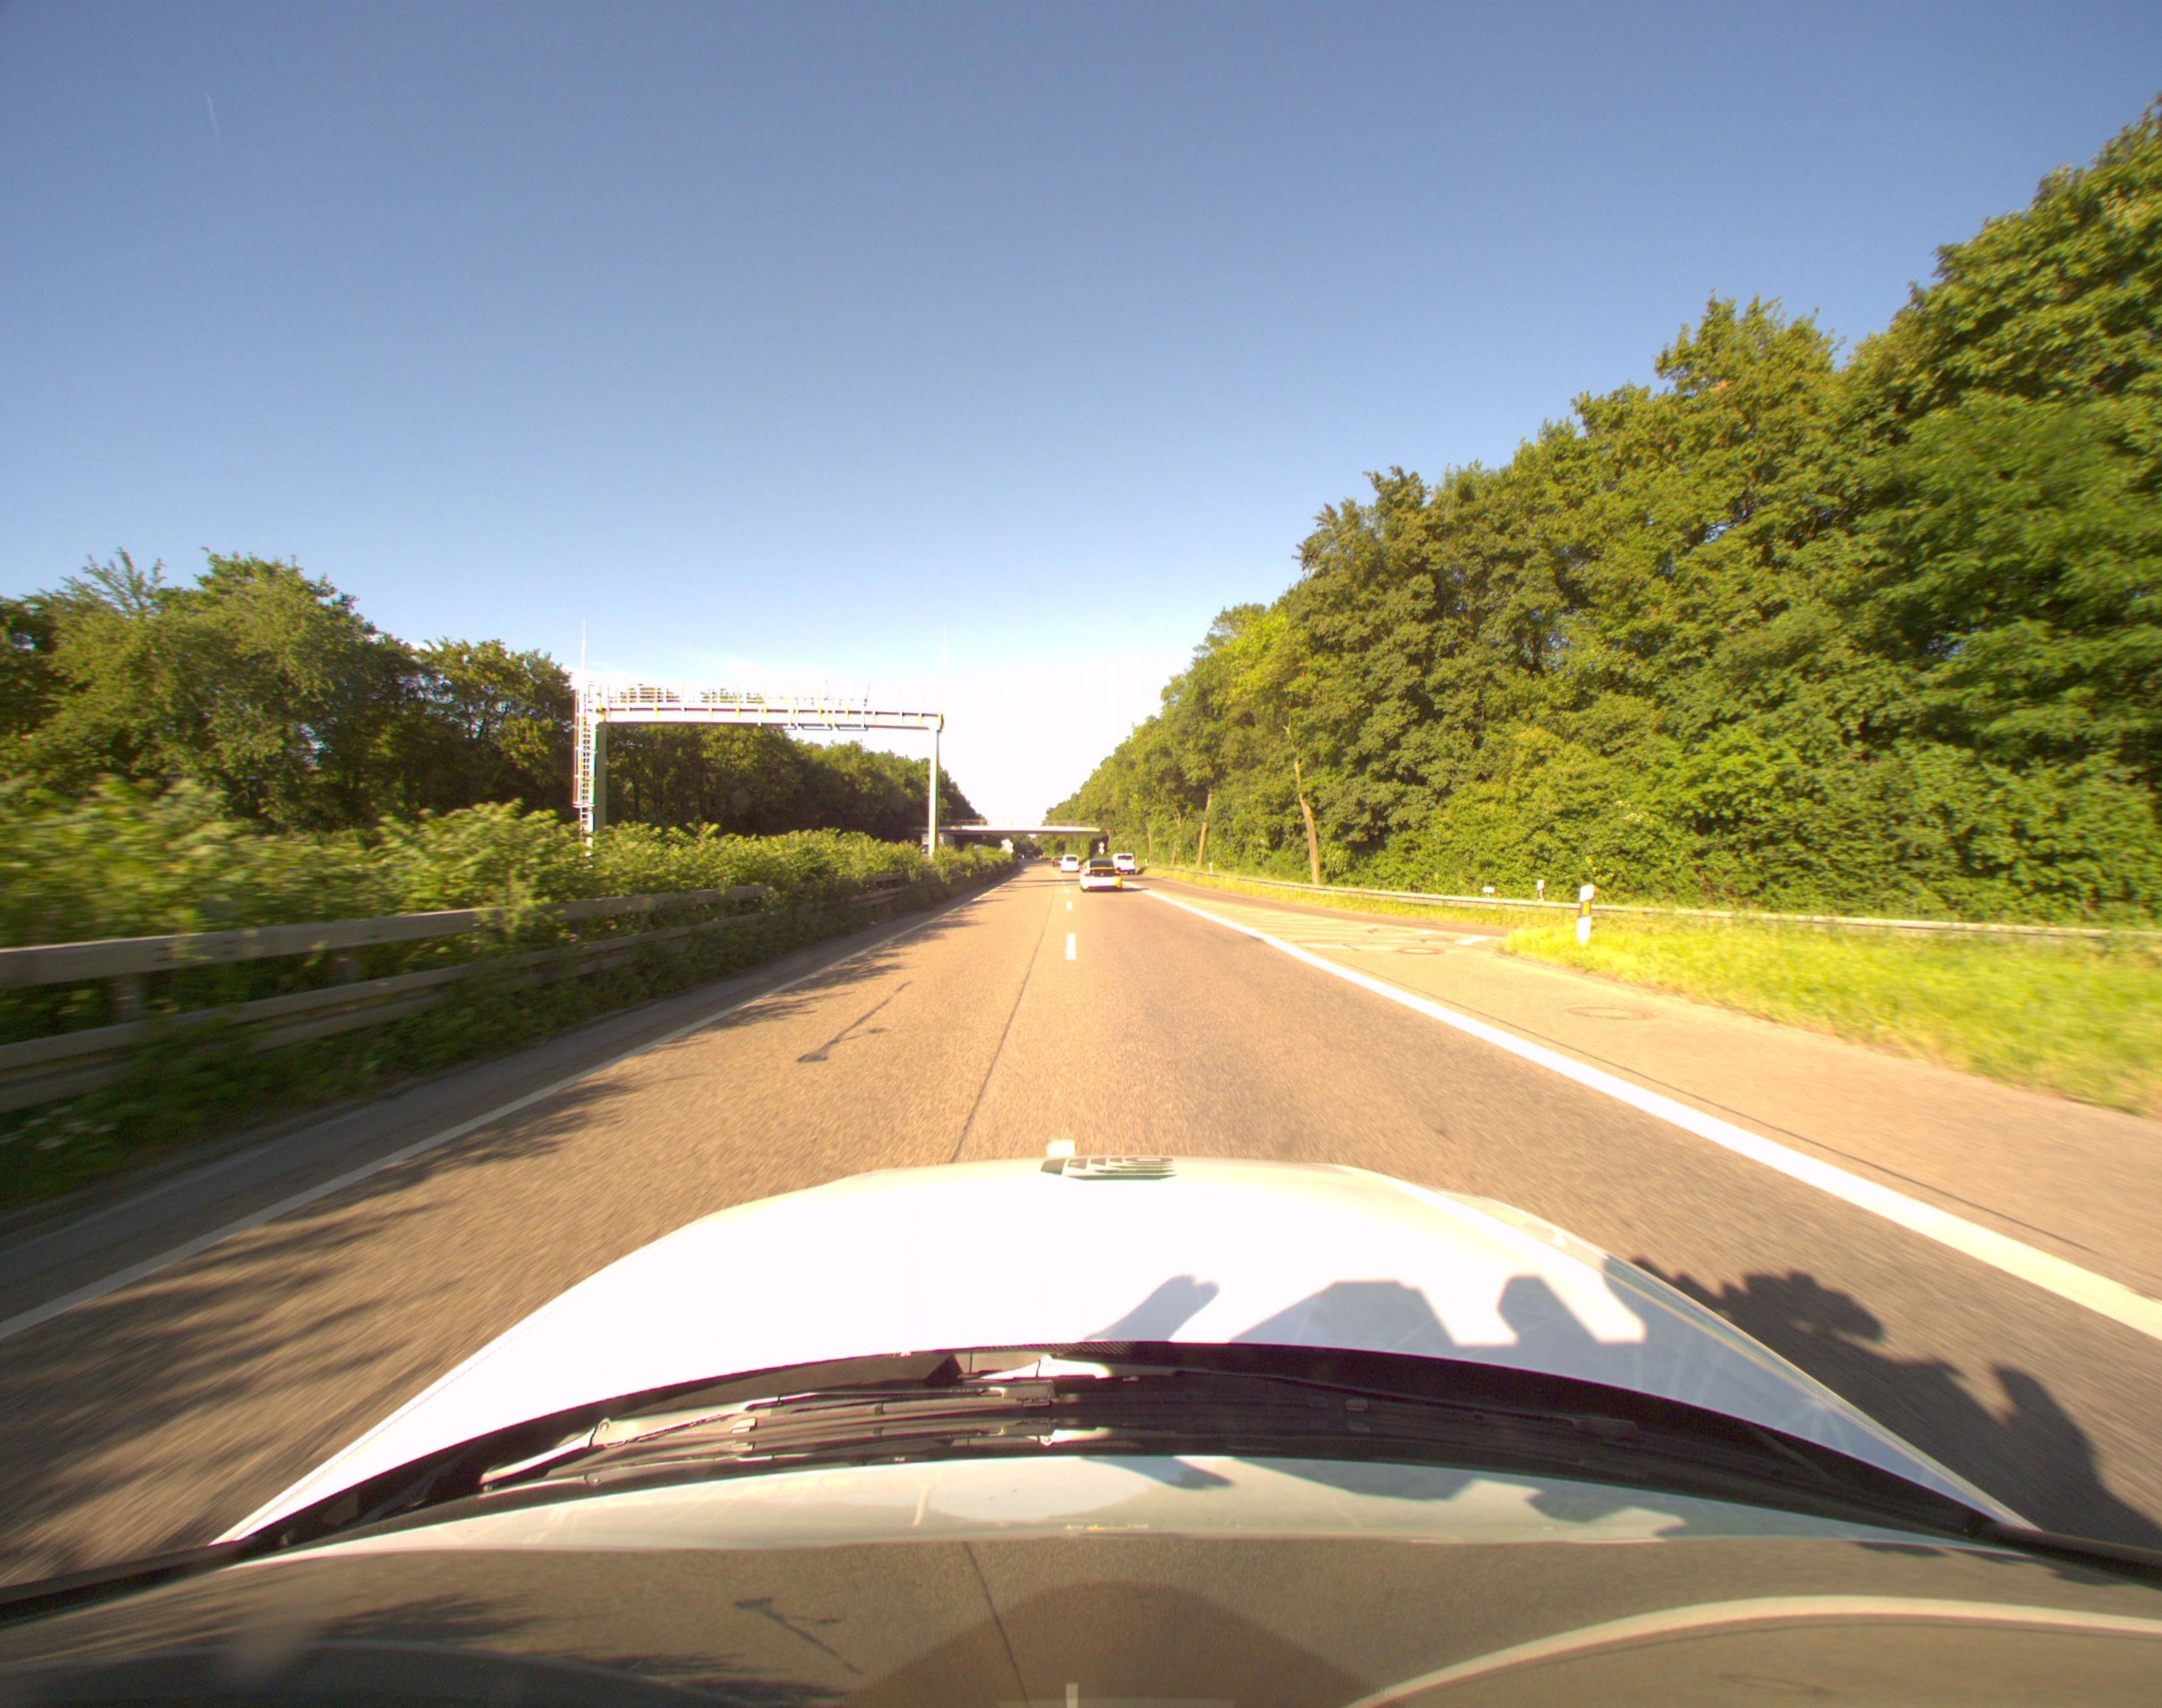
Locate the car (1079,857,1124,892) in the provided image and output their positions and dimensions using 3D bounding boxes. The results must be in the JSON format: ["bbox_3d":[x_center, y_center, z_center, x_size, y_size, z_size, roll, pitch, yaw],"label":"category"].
[{"bbox_3d":[0.894,0.915,37.276,1.891,1.471,3.998,-1,0,-1],"label":"car"}]

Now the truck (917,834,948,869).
[{"bbox_3d":[-17.359,-0.277,95.382,2.732,4.027,6.172,1,0,-3],"label":"truck"}]

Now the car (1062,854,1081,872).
[{"bbox_3d":[-1.004,0.949,83.294,1.892,1.767,3.996,-1,0,-2],"label":"car"}]

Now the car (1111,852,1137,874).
[{"bbox_3d":[3.604,0.747,68.528,1.892,1.824,3.997,-1,0,-2],"label":"car"}]

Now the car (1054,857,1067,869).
[{"bbox_3d":[-3.114,1.328,122.028,1.892,1.767,3.996,-1,0,-2],"label":"car"}]

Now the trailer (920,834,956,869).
[{"bbox_3d":[-17.699,-0.226,101.767,2.732,4.027,14.057,1,0,-3],"label":"trailer"}]
